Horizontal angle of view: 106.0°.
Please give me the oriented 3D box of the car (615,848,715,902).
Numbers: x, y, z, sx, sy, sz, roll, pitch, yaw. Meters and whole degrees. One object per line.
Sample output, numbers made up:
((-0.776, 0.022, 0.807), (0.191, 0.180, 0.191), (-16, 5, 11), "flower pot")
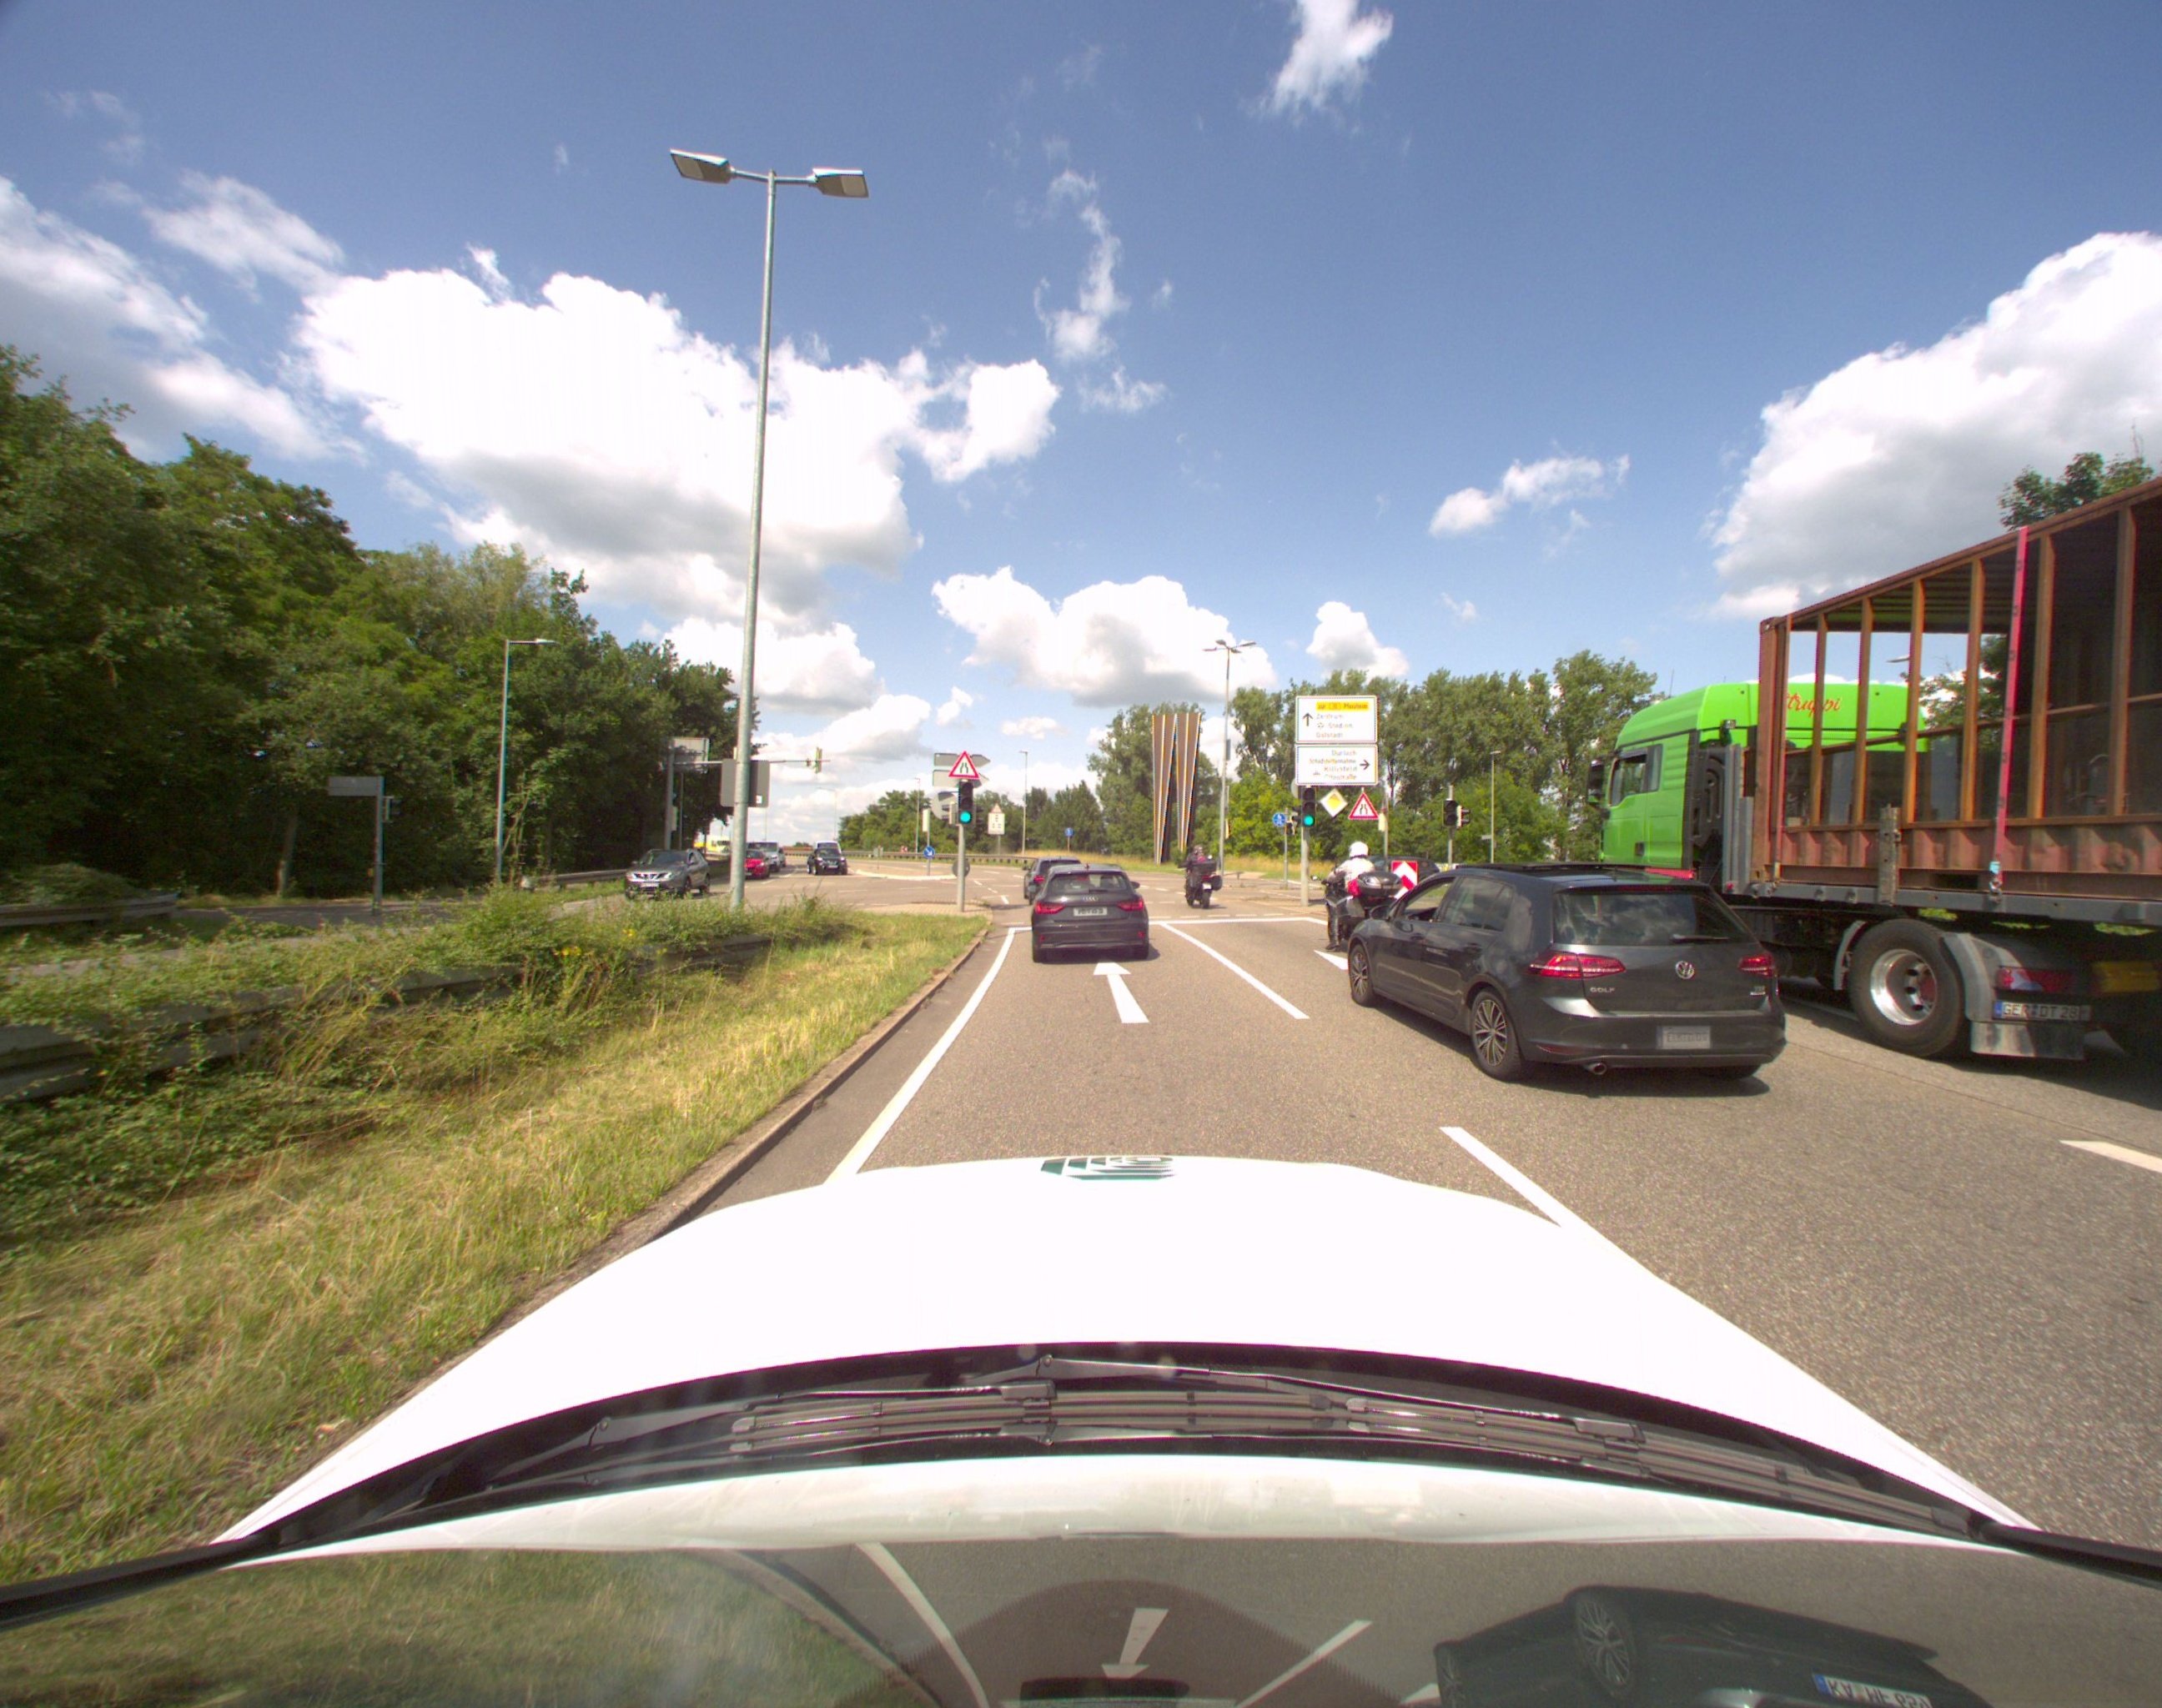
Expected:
((-13.615, 0.647, 26.927), (1.710, 1.586, 4.268), (-1, 0, -10), "car")

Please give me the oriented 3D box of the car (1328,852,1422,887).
((15.181, 0.768, 42.169), (4.189, 1.645, 1.837), (2, 1, -1), "car")

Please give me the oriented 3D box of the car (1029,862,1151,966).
((0.192, 0.849, 13.190), (1.675, 1.388, 3.741), (-1, 0, 2), "car")

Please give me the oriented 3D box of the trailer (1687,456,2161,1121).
((7.393, -0.357, 1.783), (2.627, 3.891, 13.863), (2, 0, 4), "trailer")

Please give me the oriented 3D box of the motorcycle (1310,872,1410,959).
((4.210, 0.885, 12.498), (0.786, 1.132, 2.400), (0, 0, 2), "motorcycle")

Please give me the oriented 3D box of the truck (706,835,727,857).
((-45.988, -1.066, 102.886), (2.000, 2.620, 6.063), (-2, 2, -20), "truck")

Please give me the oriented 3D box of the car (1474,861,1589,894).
((21.246, 1.097, 38.505), (4.514, 1.375, 1.646), (2, 1, -1), "car")

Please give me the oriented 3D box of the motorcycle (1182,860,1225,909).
((3.310, 0.792, 22.199), (0.884, 1.247, 2.400), (0, 0, 2), "motorcycle")

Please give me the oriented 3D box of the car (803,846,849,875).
((-14.376, 0.314, 45.838), (1.708, 1.557, 3.786), (0, 1, -30), "car")

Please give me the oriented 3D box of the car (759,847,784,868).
((-23.818, 0.285, 62.637), (1.739, 1.521, 4.039), (-1, 1, -21), "car")

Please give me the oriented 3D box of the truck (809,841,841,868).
((-19.111, 0.000, 60.704), (1.968, 1.913, 5.332), (0, 1, -21), "truck")

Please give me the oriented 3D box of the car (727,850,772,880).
((-16.791, 0.535, 41.366), (1.584, 1.432, 3.980), (-1, 0, -15), "car")

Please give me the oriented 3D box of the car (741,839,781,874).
((-20.103, 0.166, 51.096), (2.003, 2.013, 5.093), (-2, 0, -25), "car")

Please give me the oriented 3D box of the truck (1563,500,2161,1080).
((8.025, -0.394, 8.399), (2.855, 3.903, 5.885), (3, 0, 5), "truck")

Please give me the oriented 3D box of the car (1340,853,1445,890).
((14.750, 0.826, 38.668), (4.268, 1.617, 1.844), (2, -1, -1), "car")

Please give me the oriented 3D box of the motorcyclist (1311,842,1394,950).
((4.229, 0.631, 12.778), (0.962, 1.620, 1.125), (0, 0, 2), "motorcyclist")

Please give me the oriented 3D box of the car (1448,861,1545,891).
((21.596, 1.153, 42.418), (4.189, 1.375, 1.646), (2, 1, -1), "car")

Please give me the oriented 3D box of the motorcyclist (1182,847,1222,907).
((3.296, 0.619, 22.336), (0.962, 1.596, 1.125), (0, 0, 2), "motorcyclist")

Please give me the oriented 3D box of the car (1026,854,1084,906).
((-0.743, 0.744, 25.382), (1.637, 1.479, 3.872), (0, 0, 0), "car")

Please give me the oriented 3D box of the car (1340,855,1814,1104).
((3.576, 0.749, 6.800), (1.637, 1.479, 3.872), (0, 0, 0), "car")
